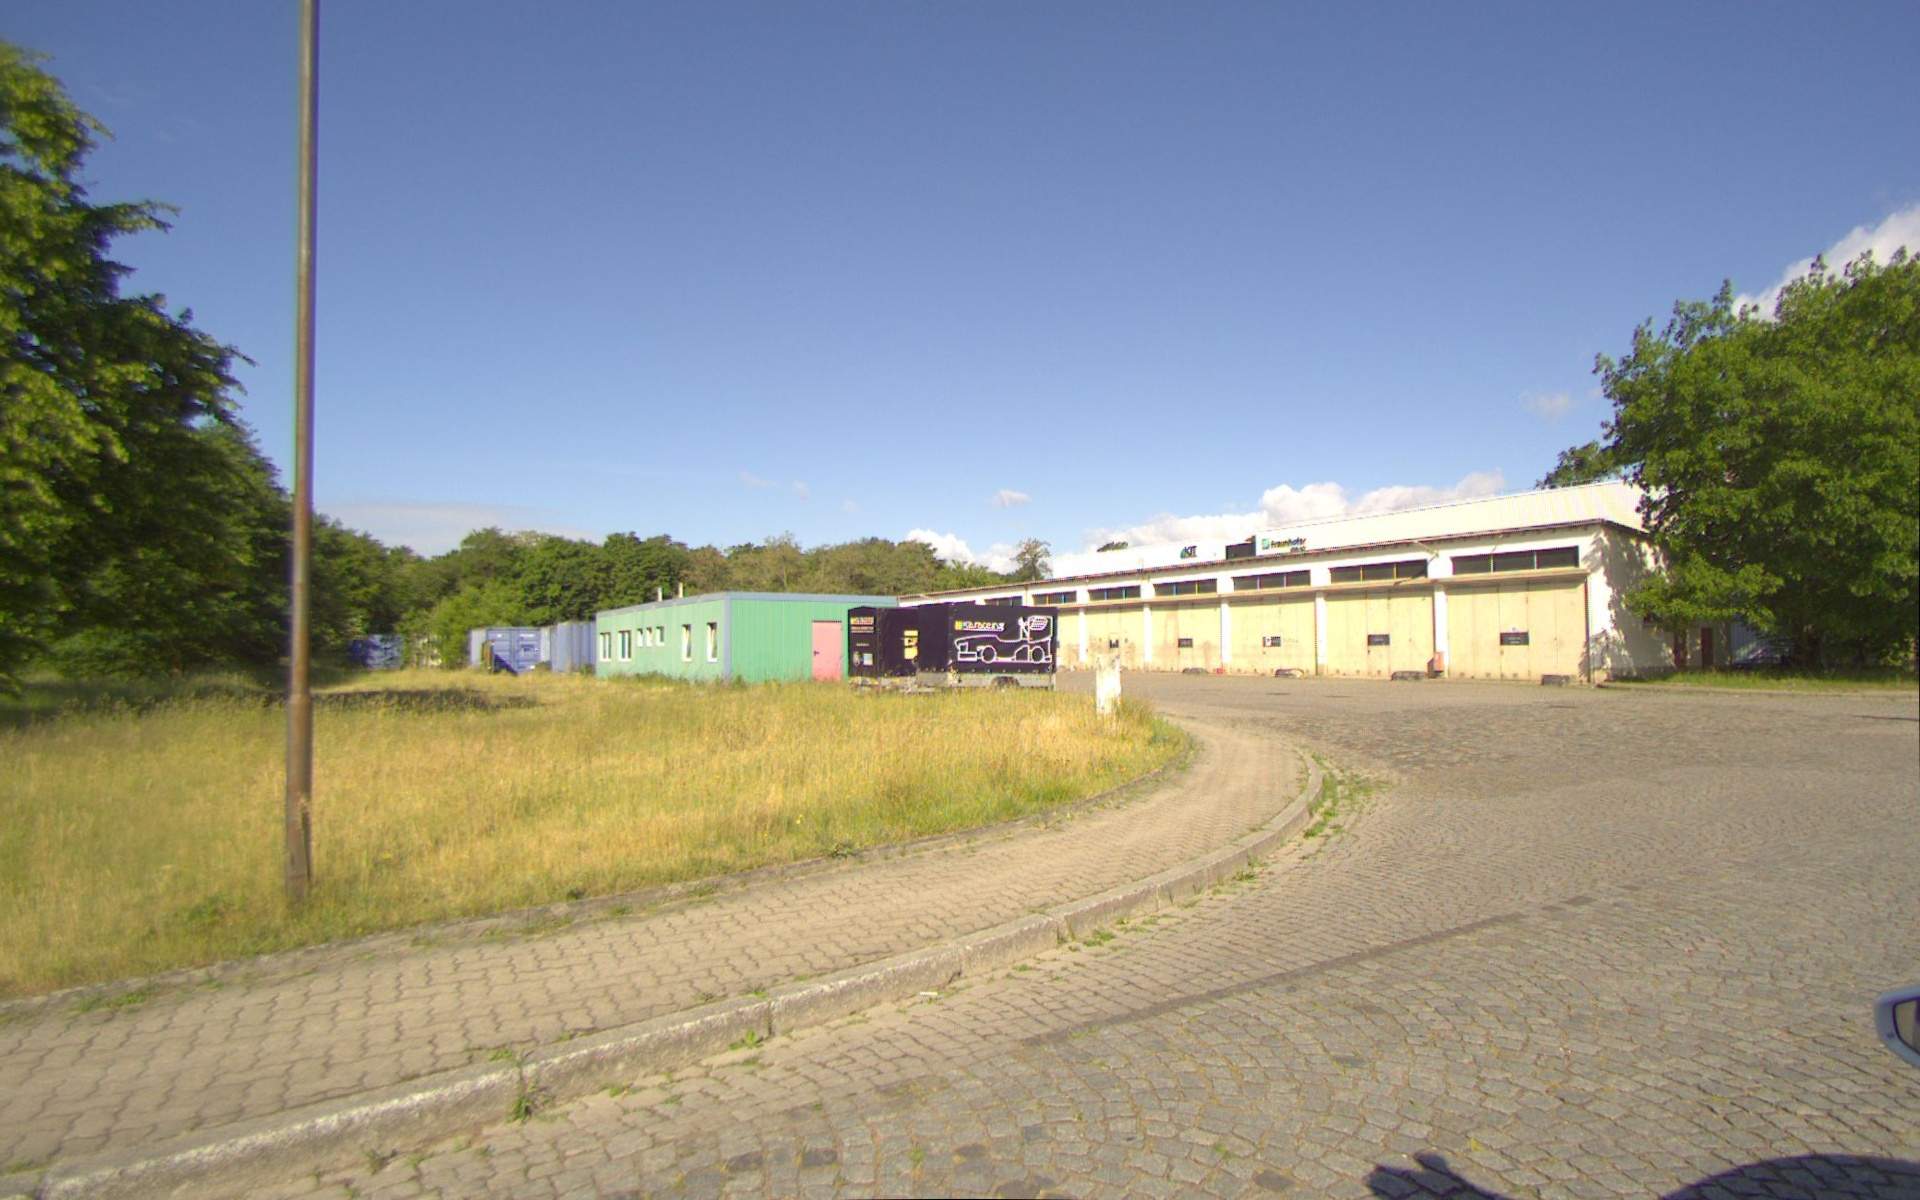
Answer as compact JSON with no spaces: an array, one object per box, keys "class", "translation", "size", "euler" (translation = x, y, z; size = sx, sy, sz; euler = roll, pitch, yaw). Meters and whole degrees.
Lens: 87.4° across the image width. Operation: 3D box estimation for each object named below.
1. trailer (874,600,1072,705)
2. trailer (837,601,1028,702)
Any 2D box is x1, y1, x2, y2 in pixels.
[{"class":"trailer","translation":[0.346,1.299,24.251],"size":[4.418,2.302,1.998],"euler":[3,-4,-31]},{"class":"trailer","translation":[-0.659,1.385,26.442],"size":[4.810,2.422,1.923],"euler":[3,-4,-37]}]
